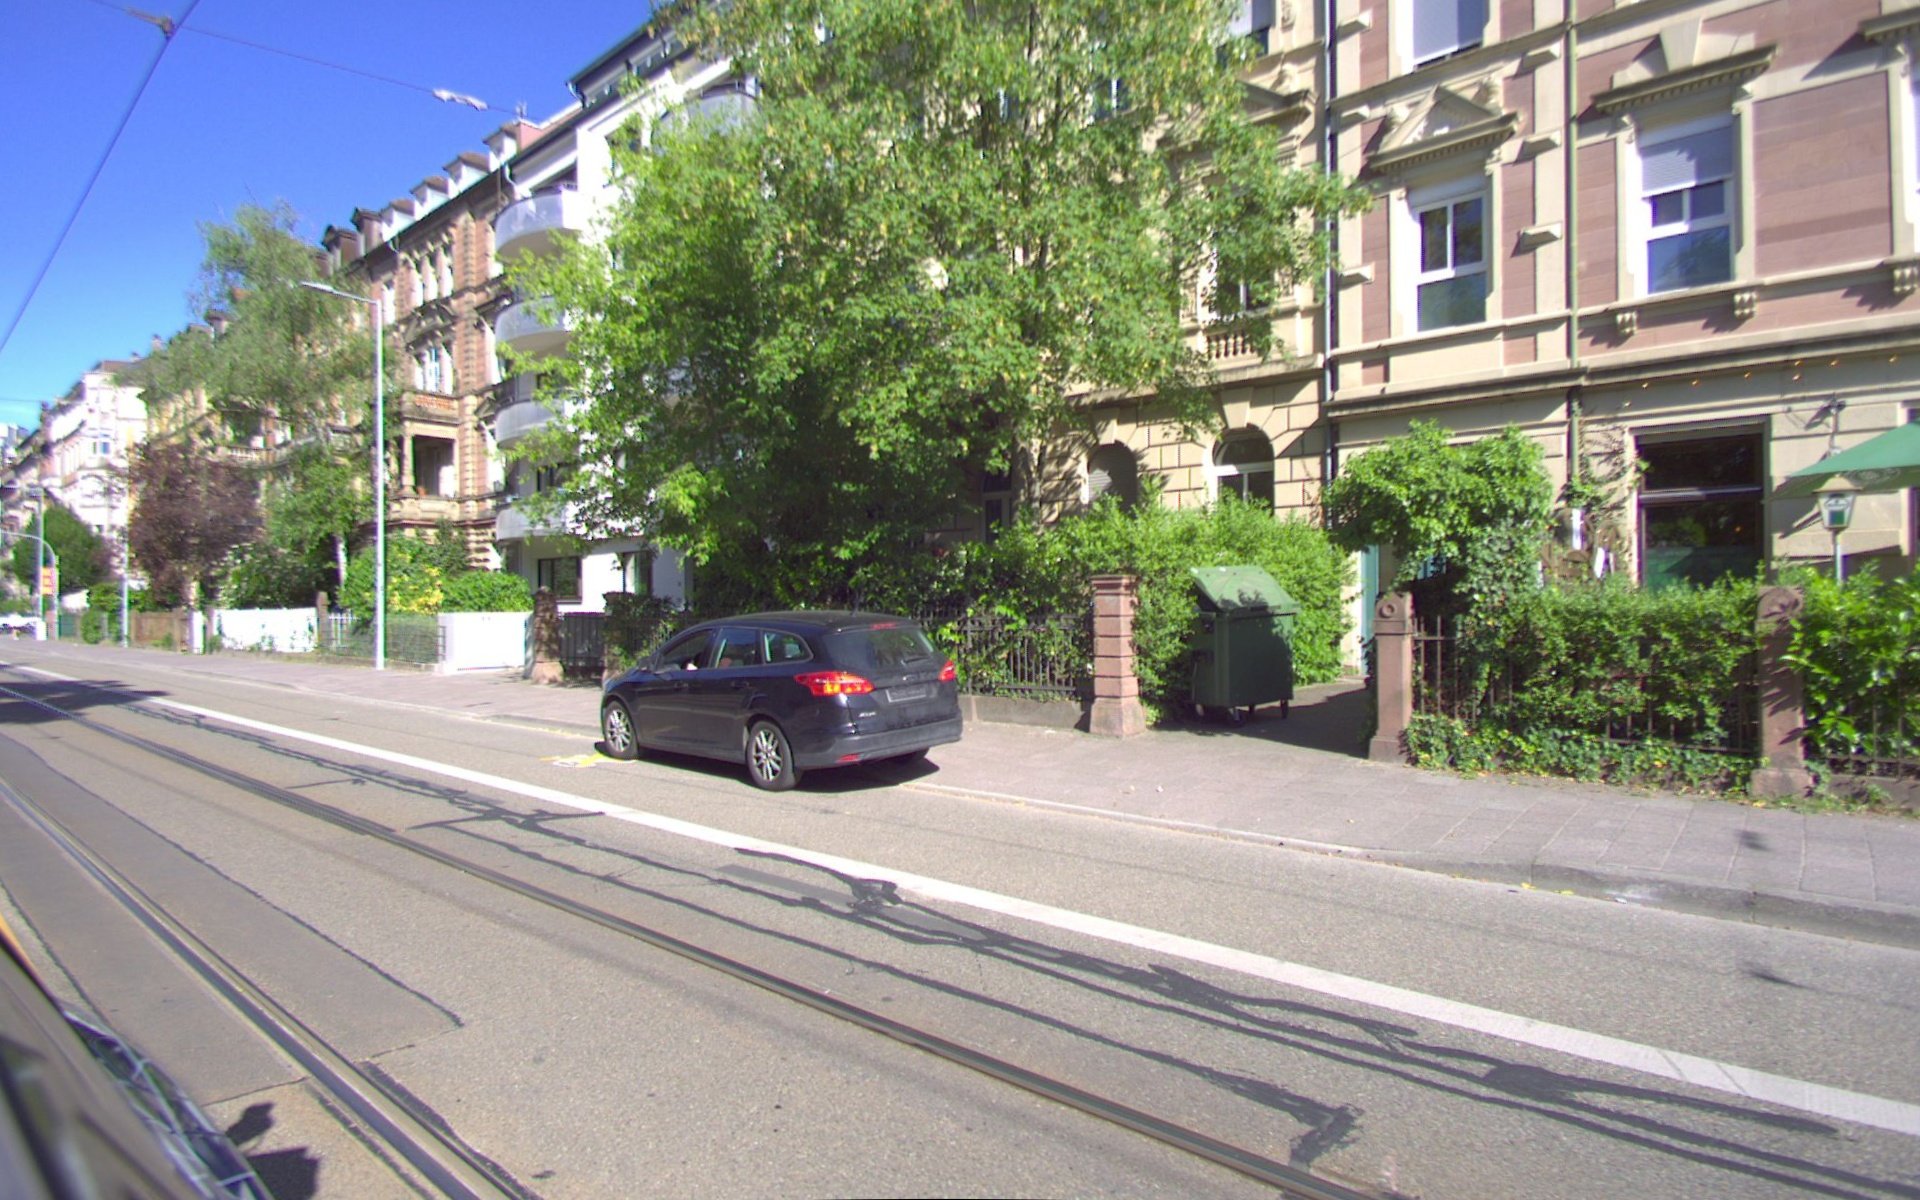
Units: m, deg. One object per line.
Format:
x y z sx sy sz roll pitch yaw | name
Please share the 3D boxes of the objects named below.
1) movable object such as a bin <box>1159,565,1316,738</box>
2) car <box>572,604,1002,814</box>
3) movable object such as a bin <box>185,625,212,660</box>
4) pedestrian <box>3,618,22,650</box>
3.077 0.524 11.229 1.268 1.744 1.045 -3 1 -33 | movable object such as a bin
-1.897 0.897 9.956 4.591 1.588 1.843 -2 -3 45 | car
-26.821 1.487 35.633 0.664 1.184 0.583 -1 -1 36 | movable object such as a bin
-55.562 1.995 59.345 0.798 1.850 0.755 0 -1 -41 | pedestrian
